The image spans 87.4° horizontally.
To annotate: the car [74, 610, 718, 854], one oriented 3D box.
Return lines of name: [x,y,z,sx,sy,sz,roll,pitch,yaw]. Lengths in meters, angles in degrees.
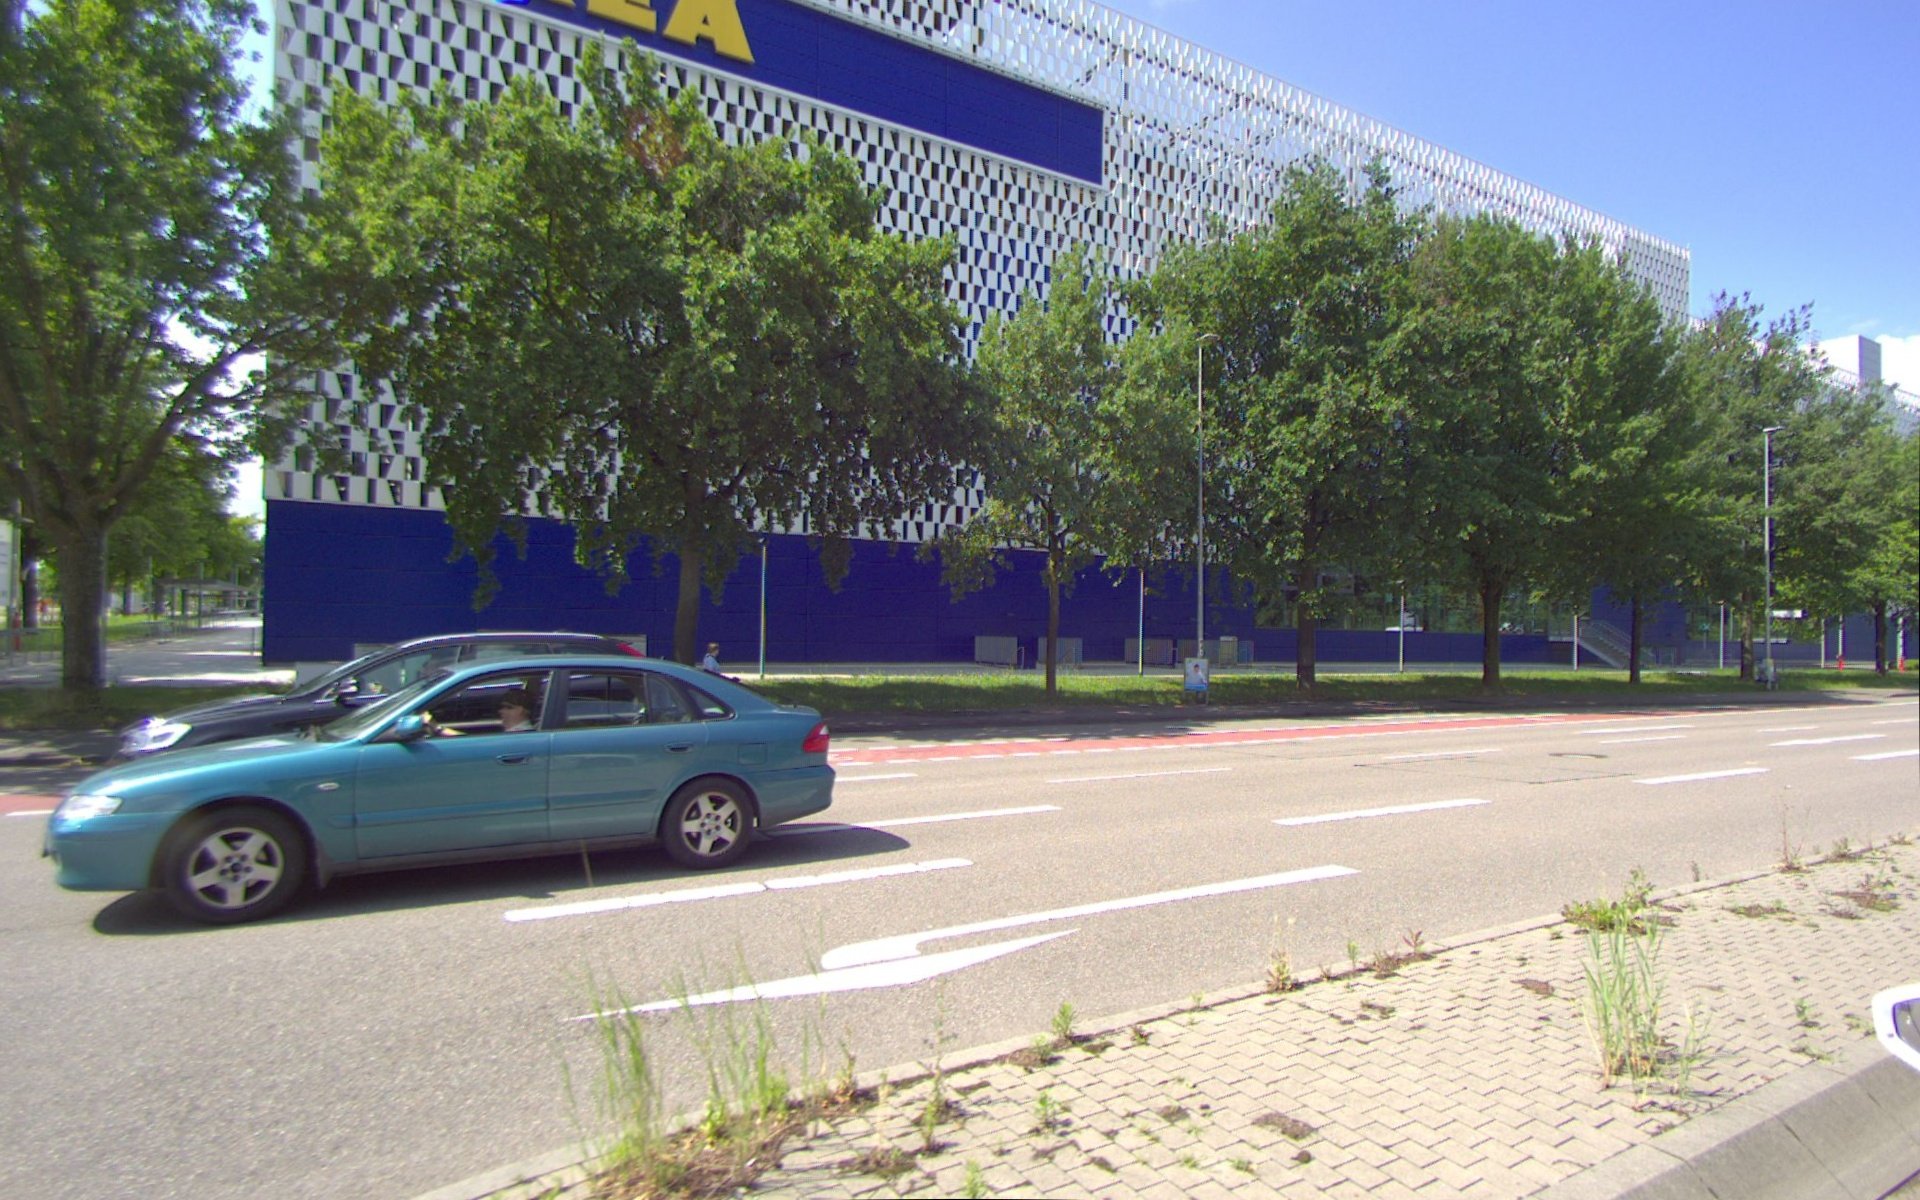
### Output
car: [-4.890,1.086,9.410,4.766,1.778,1.919,2,-4,-31]

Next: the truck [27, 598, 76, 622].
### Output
truck: [-106.679,1.157,118.045,2.937,2.789,5.742,0,0,-28]

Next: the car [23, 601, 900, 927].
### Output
car: [-2.918,0.909,6.870,4.766,1.568,1.764,2,-4,-31]

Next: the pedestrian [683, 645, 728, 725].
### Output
pedestrian: [-5.171,1.714,20.434,0.752,1.575,0.500,2,-2,-30]
